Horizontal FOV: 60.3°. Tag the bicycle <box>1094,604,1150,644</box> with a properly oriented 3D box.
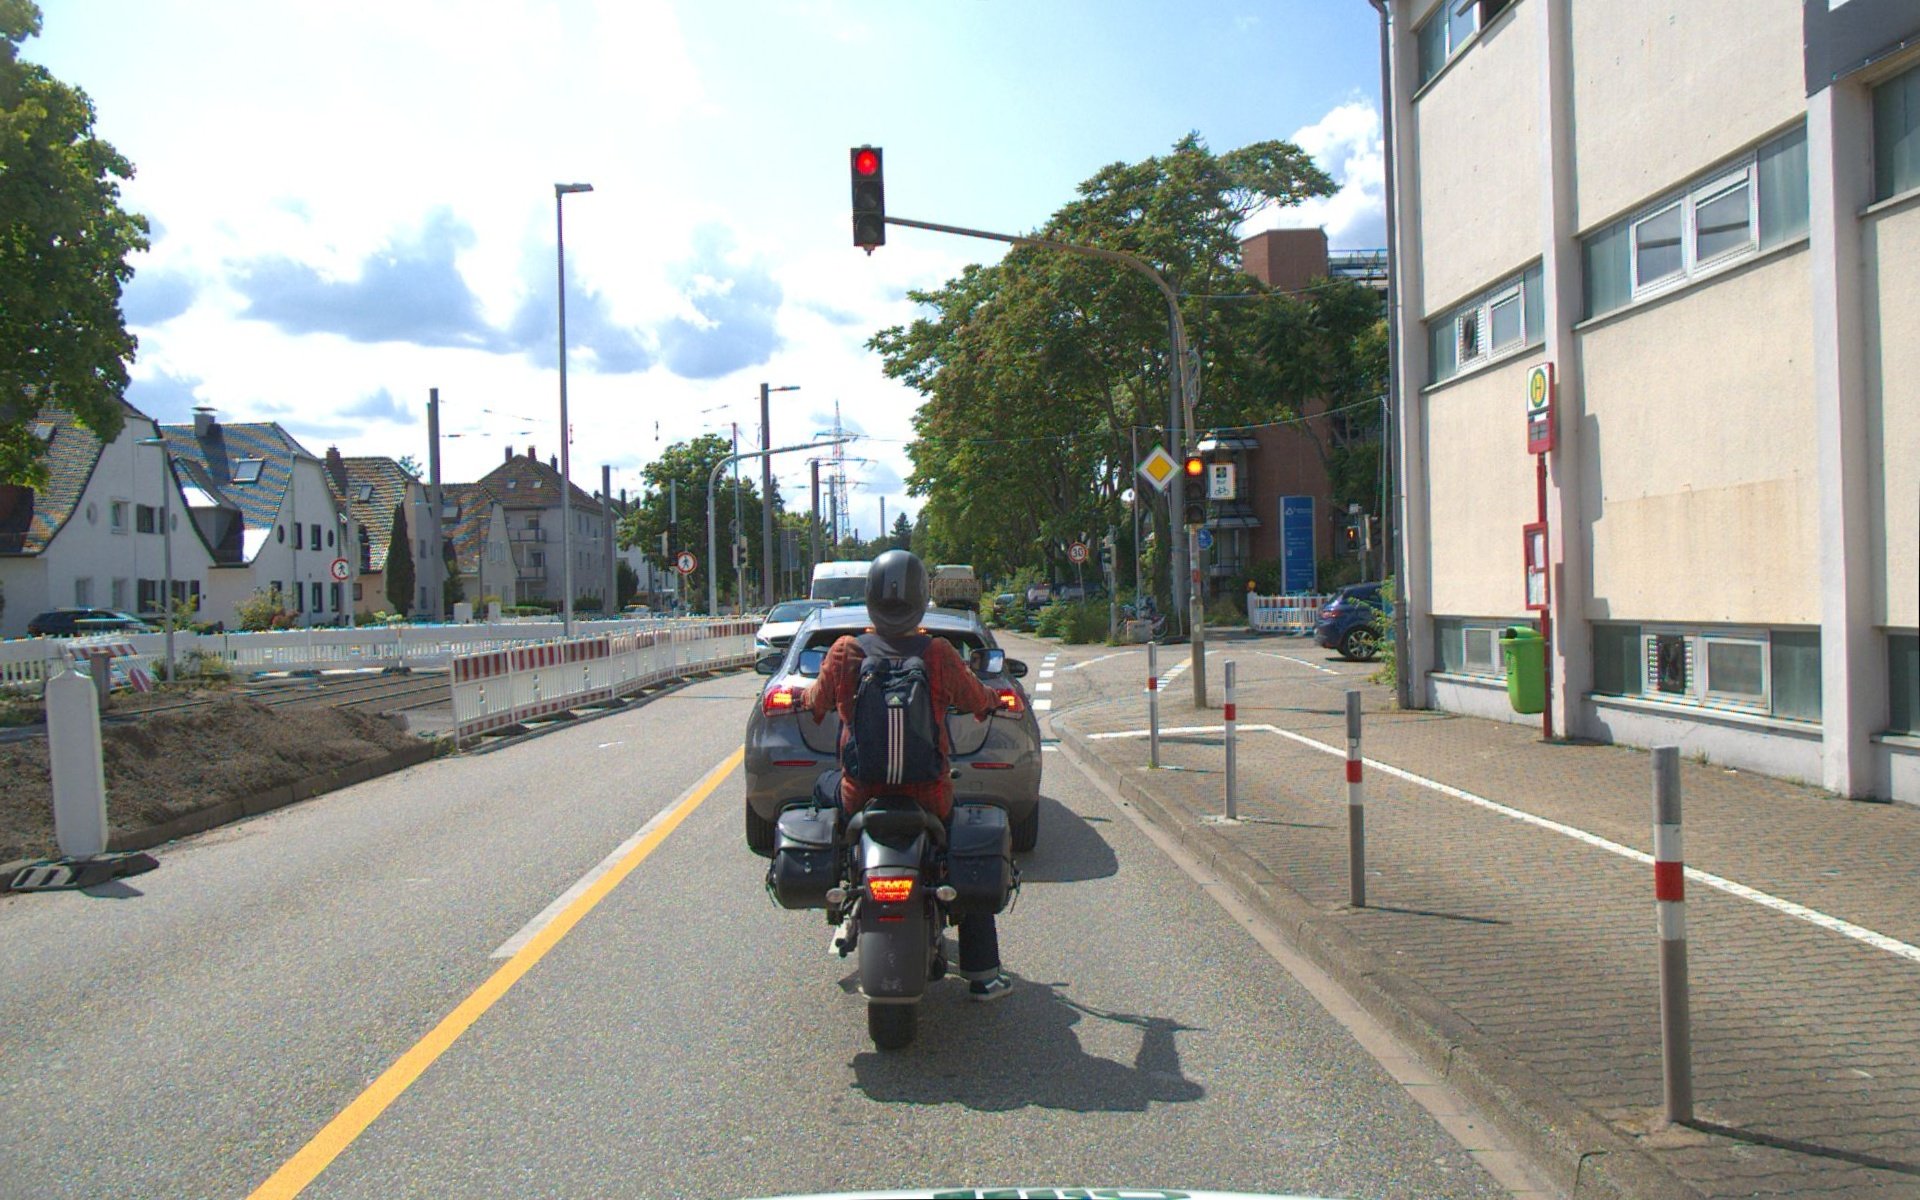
[{"bbox_3d":[4.907,0.732,50.125,1.672,1.192,0.438,0,-1,3],"label":"bicycle"}]

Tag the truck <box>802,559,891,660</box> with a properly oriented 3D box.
[{"bbox_3d":[-3.057,0.188,45.520,2.050,2.519,5.195,-3,1,-1],"label":"truck"}]

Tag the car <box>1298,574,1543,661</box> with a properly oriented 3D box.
[{"bbox_3d":[8.600,0.311,31.109,4.166,1.524,1.651,-1,0,3],"label":"car"}]

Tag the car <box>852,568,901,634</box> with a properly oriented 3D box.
[{"bbox_3d":[-2.853,0.049,57.107,1.557,2.180,3.626,0,-1,-1],"label":"car"}]

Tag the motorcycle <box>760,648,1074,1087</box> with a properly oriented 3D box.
[{"bbox_3d":[-0.157,0.834,6.159,0.923,1.221,2.472,0,0,-2],"label":"motorcycle"}]

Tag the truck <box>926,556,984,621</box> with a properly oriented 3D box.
[{"bbox_3d":[-0.189,-0.533,87.063,2.906,3.229,7.764,0,-1,1],"label":"truck"}]

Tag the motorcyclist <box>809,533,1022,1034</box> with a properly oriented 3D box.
[{"bbox_3d":[-0.153,0.601,5.754,0.684,1.632,0.691,0,-1,-2],"label":"motorcyclist"}]

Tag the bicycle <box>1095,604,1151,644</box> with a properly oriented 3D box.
[{"bbox_3d":[5.009,0.740,50.873,1.672,1.192,0.438,0,-1,3],"label":"bicycle"}]

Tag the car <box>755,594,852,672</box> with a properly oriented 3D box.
[{"bbox_3d":[-3.201,0.669,34.512,1.709,1.462,4.082,-2,-1,-2],"label":"car"}]

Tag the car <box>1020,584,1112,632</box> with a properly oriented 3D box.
[{"bbox_3d":[4.501,0.339,69.926,1.772,1.959,3.973,0,-1,43],"label":"car"}]

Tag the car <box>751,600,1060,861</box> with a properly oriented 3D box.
[{"bbox_3d":[-0.501,0.725,11.175,1.698,1.428,4.081,1,0,-6],"label":"car"}]

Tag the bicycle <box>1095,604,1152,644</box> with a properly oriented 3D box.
[{"bbox_3d":[4.895,0.726,49.526,1.672,1.192,0.438,0,-1,3],"label":"bicycle"}]
